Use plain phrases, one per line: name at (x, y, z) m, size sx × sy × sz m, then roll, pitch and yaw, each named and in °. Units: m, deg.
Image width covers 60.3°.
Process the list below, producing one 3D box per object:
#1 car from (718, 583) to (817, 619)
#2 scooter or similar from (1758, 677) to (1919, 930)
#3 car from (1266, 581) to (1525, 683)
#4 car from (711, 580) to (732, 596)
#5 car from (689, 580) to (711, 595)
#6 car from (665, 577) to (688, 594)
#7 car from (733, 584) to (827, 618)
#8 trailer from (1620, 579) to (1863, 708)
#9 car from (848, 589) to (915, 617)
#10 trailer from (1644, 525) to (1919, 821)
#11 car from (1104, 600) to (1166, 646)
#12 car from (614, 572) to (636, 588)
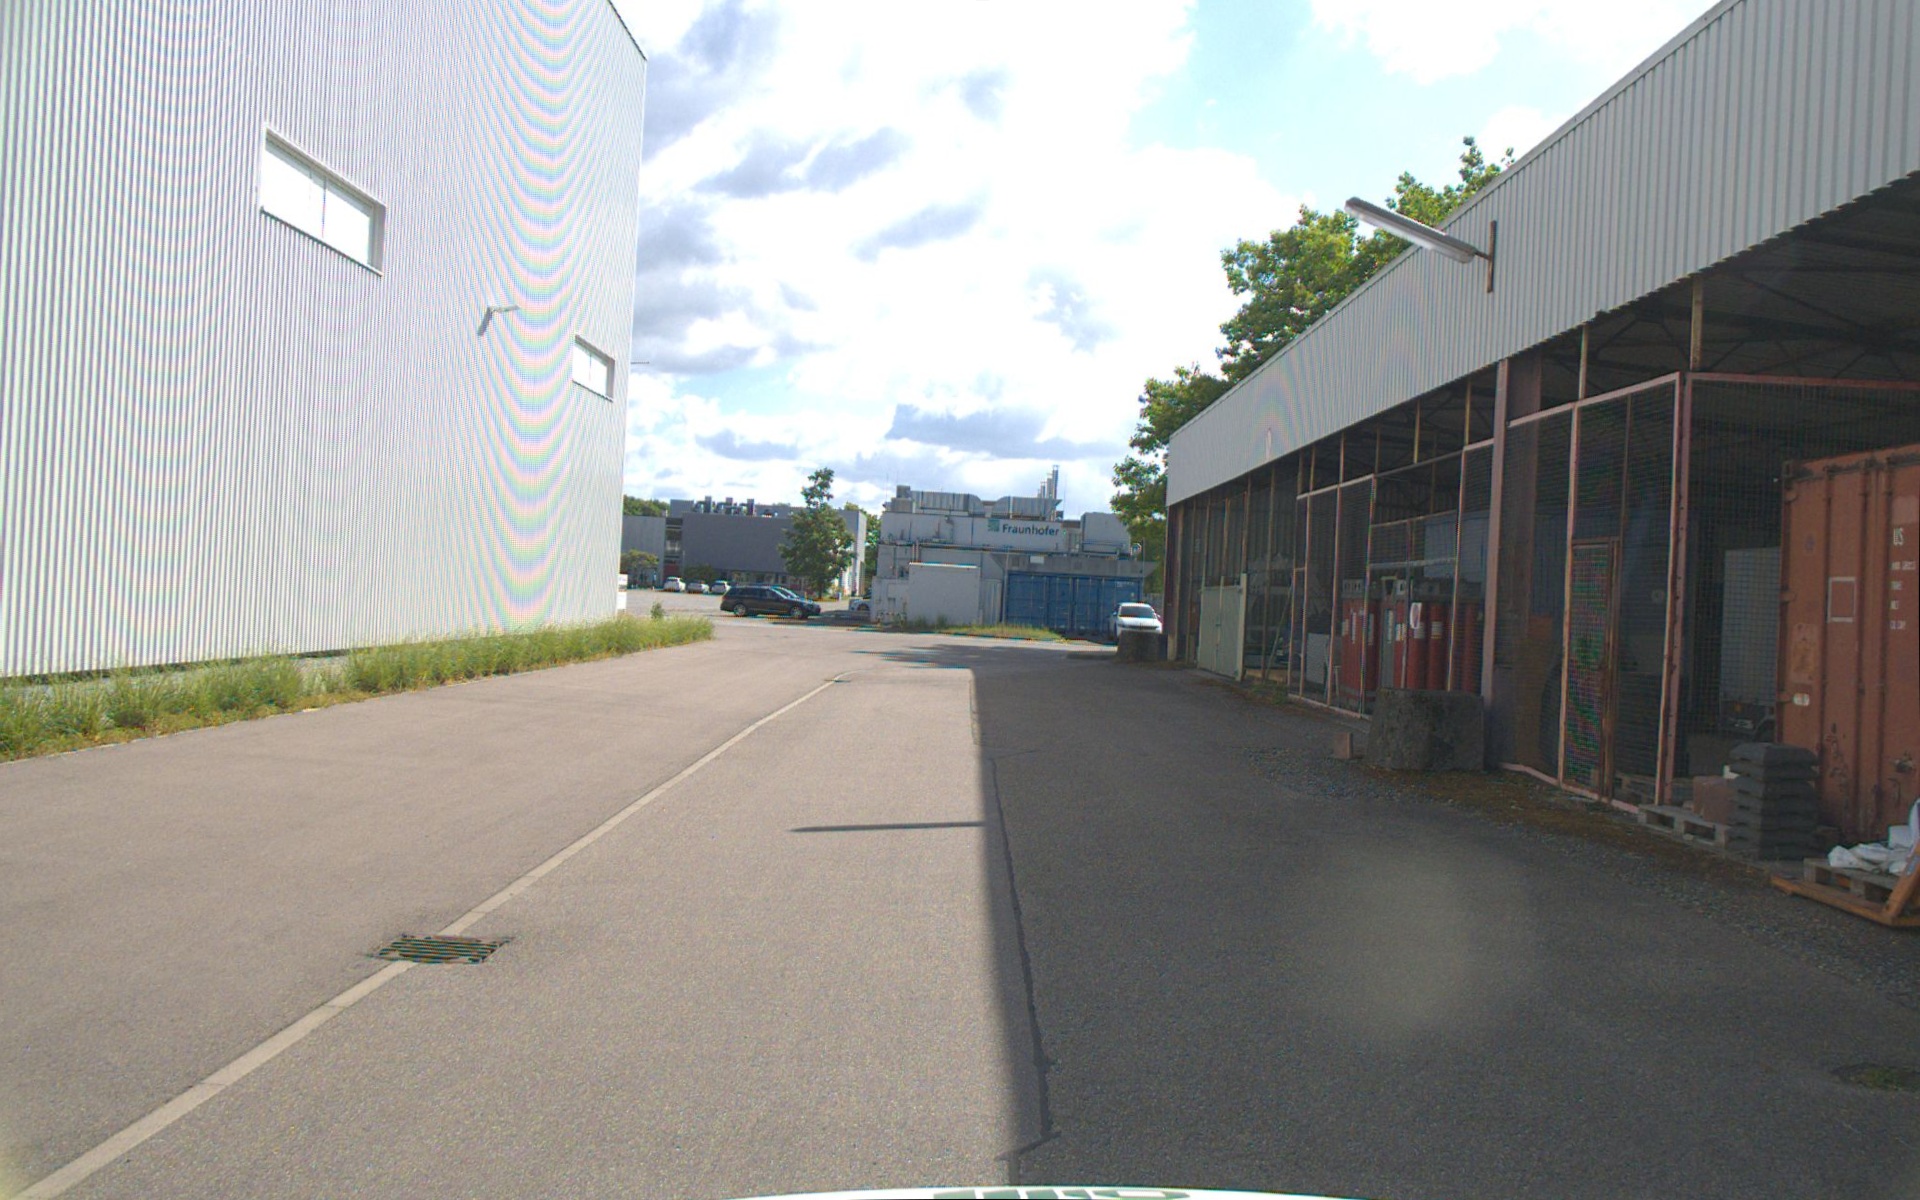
car at (-9.259, 0.058, 79.840) m, size 4.437 × 1.468 × 1.987 m, roll 3°, pitch -2°, yaw 0°
scooter or similar at (4.861, 1.022, 8.707) m, size 0.510 × 1.154 × 1.592 m, roll 2°, pitch -1°, yaw 0°
car at (9.645, 0.710, 36.909) m, size 5.065 × 1.952 × 2.276 m, roll 3°, pitch 0°, yaw -6°
car at (-25.479, -1.295, 176.751) m, size 1.840 × 1.564 × 4.033 m, roll 1°, pitch 0°, yaw -2°
car at (-27.759, -1.351, 176.513) m, size 1.840 × 1.564 × 4.033 m, roll 1°, pitch 0°, yaw -2°
car at (-30.272, -1.488, 176.647) m, size 1.840 × 1.719 × 4.033 m, roll 1°, pitch 0°, yaw -2°
car at (-9.031, 0.064, 83.099) m, size 4.437 × 1.468 × 1.904 m, roll 3°, pitch -2°, yaw 0°
trailer at (14.507, 0.777, 30.896) m, size 3.334 × 2.175 × 2.465 m, roll 2°, pitch 0°, yaw 2°
car at (-5.079, 0.196, 107.615) m, size 4.192 × 1.596 × 1.987 m, roll 3°, pitch -2°, yaw 0°
trailer at (7.381, 0.560, 14.034) m, size 1.545 × 2.181 × 3.519 m, roll 1°, pitch 0°, yaw -3°
car at (7.090, 0.904, 67.356) m, size 1.941 × 1.621 × 4.340 m, roll 3°, pitch 1°, yaw 0°
car at (-35.714, -2.104, 176.365) m, size 1.841 × 1.564 × 4.031 m, roll 1°, pitch 0°, yaw -5°
